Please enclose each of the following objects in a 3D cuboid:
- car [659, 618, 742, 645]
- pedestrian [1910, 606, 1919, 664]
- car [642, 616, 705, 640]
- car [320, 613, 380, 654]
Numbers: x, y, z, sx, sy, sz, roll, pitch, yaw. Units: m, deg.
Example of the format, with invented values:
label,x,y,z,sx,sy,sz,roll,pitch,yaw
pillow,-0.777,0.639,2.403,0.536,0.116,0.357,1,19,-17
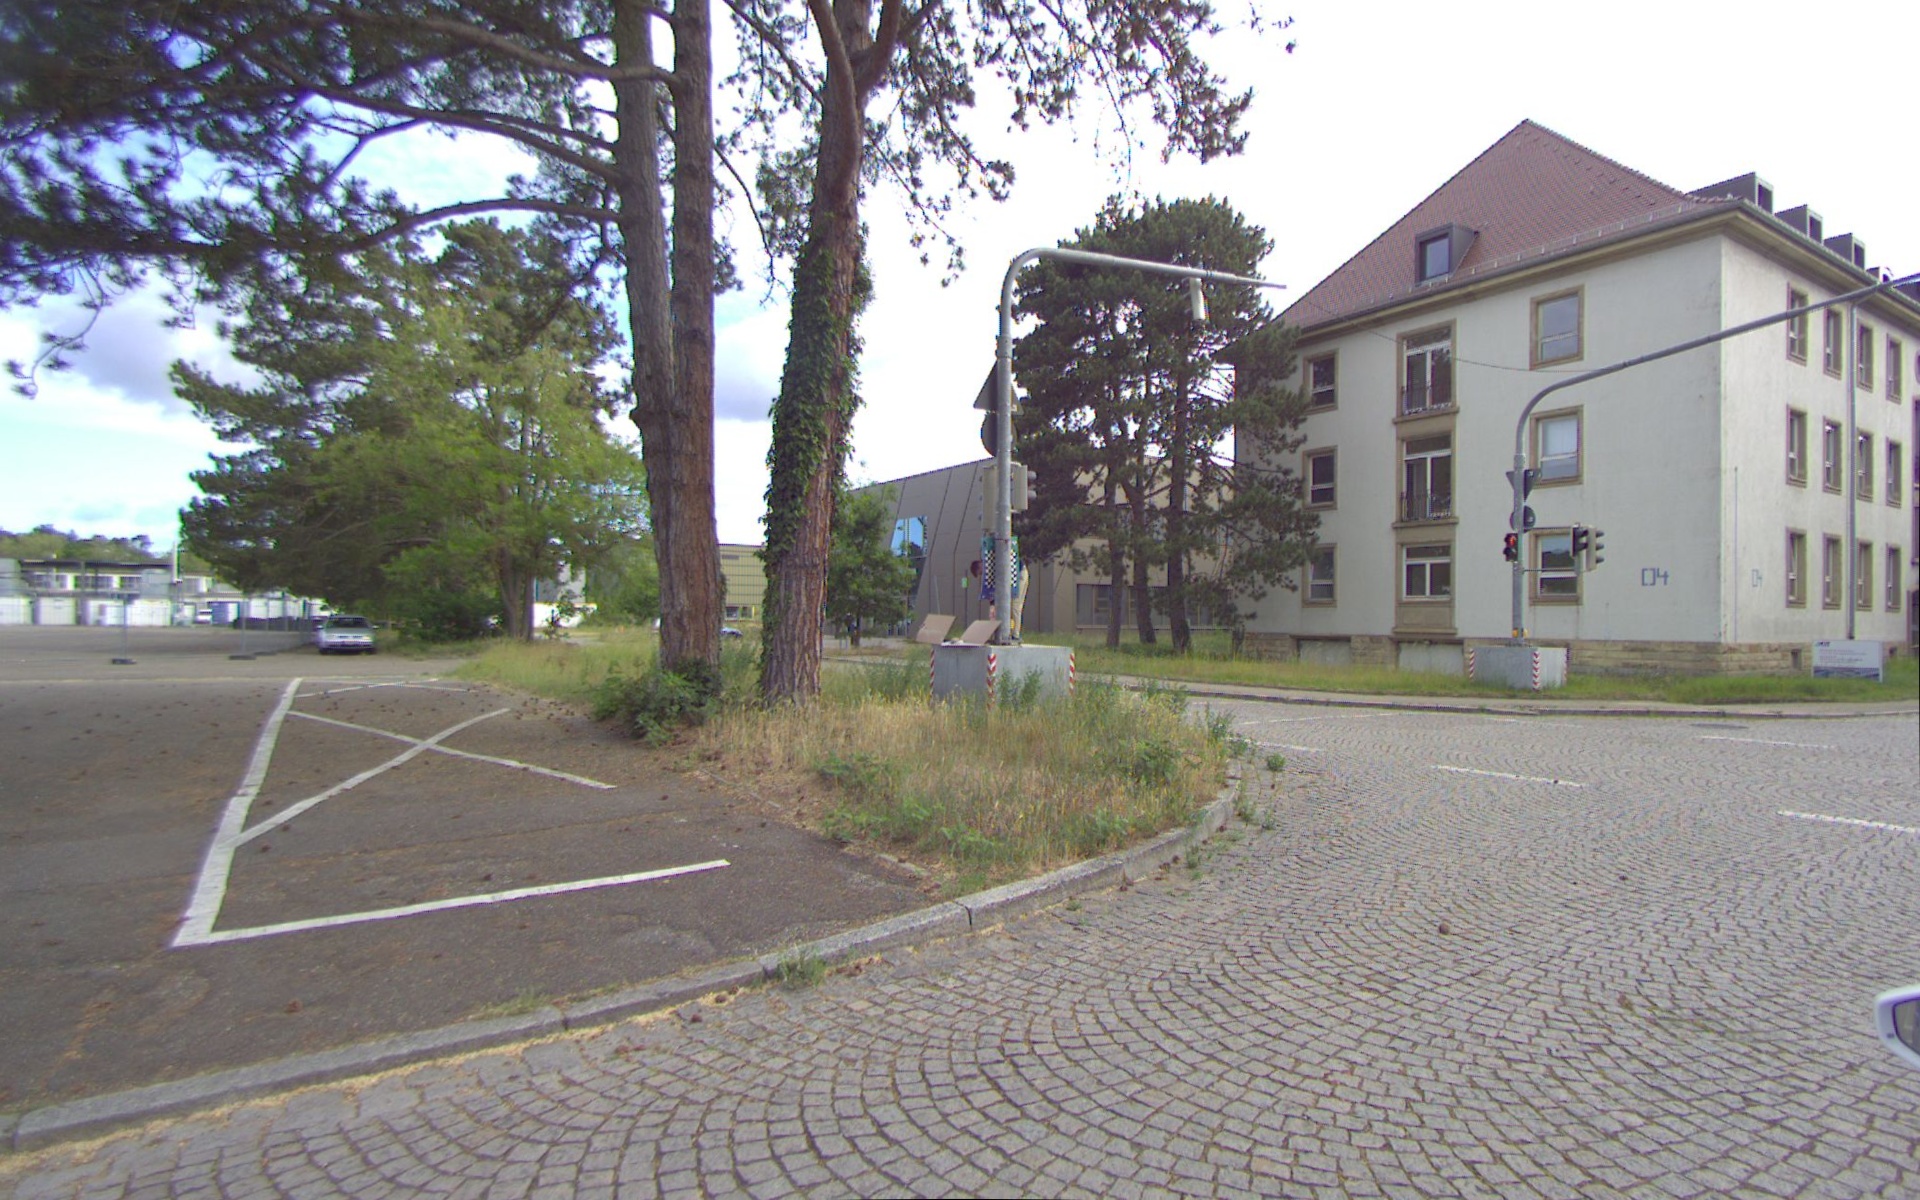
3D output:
label,x,y,z,sx,sy,sz,roll,pitch,yaw
car,-15.353,1.851,59.487,4.409,1.449,1.983,-1,0,-32
pedestrian,34.353,1.231,35.333,1.009,2.040,1.083,1,-1,-27
car,-18.826,1.807,66.043,3.618,1.449,1.983,-1,0,-32
car,-22.575,1.210,37.127,1.680,1.410,3.962,1,-1,-34
